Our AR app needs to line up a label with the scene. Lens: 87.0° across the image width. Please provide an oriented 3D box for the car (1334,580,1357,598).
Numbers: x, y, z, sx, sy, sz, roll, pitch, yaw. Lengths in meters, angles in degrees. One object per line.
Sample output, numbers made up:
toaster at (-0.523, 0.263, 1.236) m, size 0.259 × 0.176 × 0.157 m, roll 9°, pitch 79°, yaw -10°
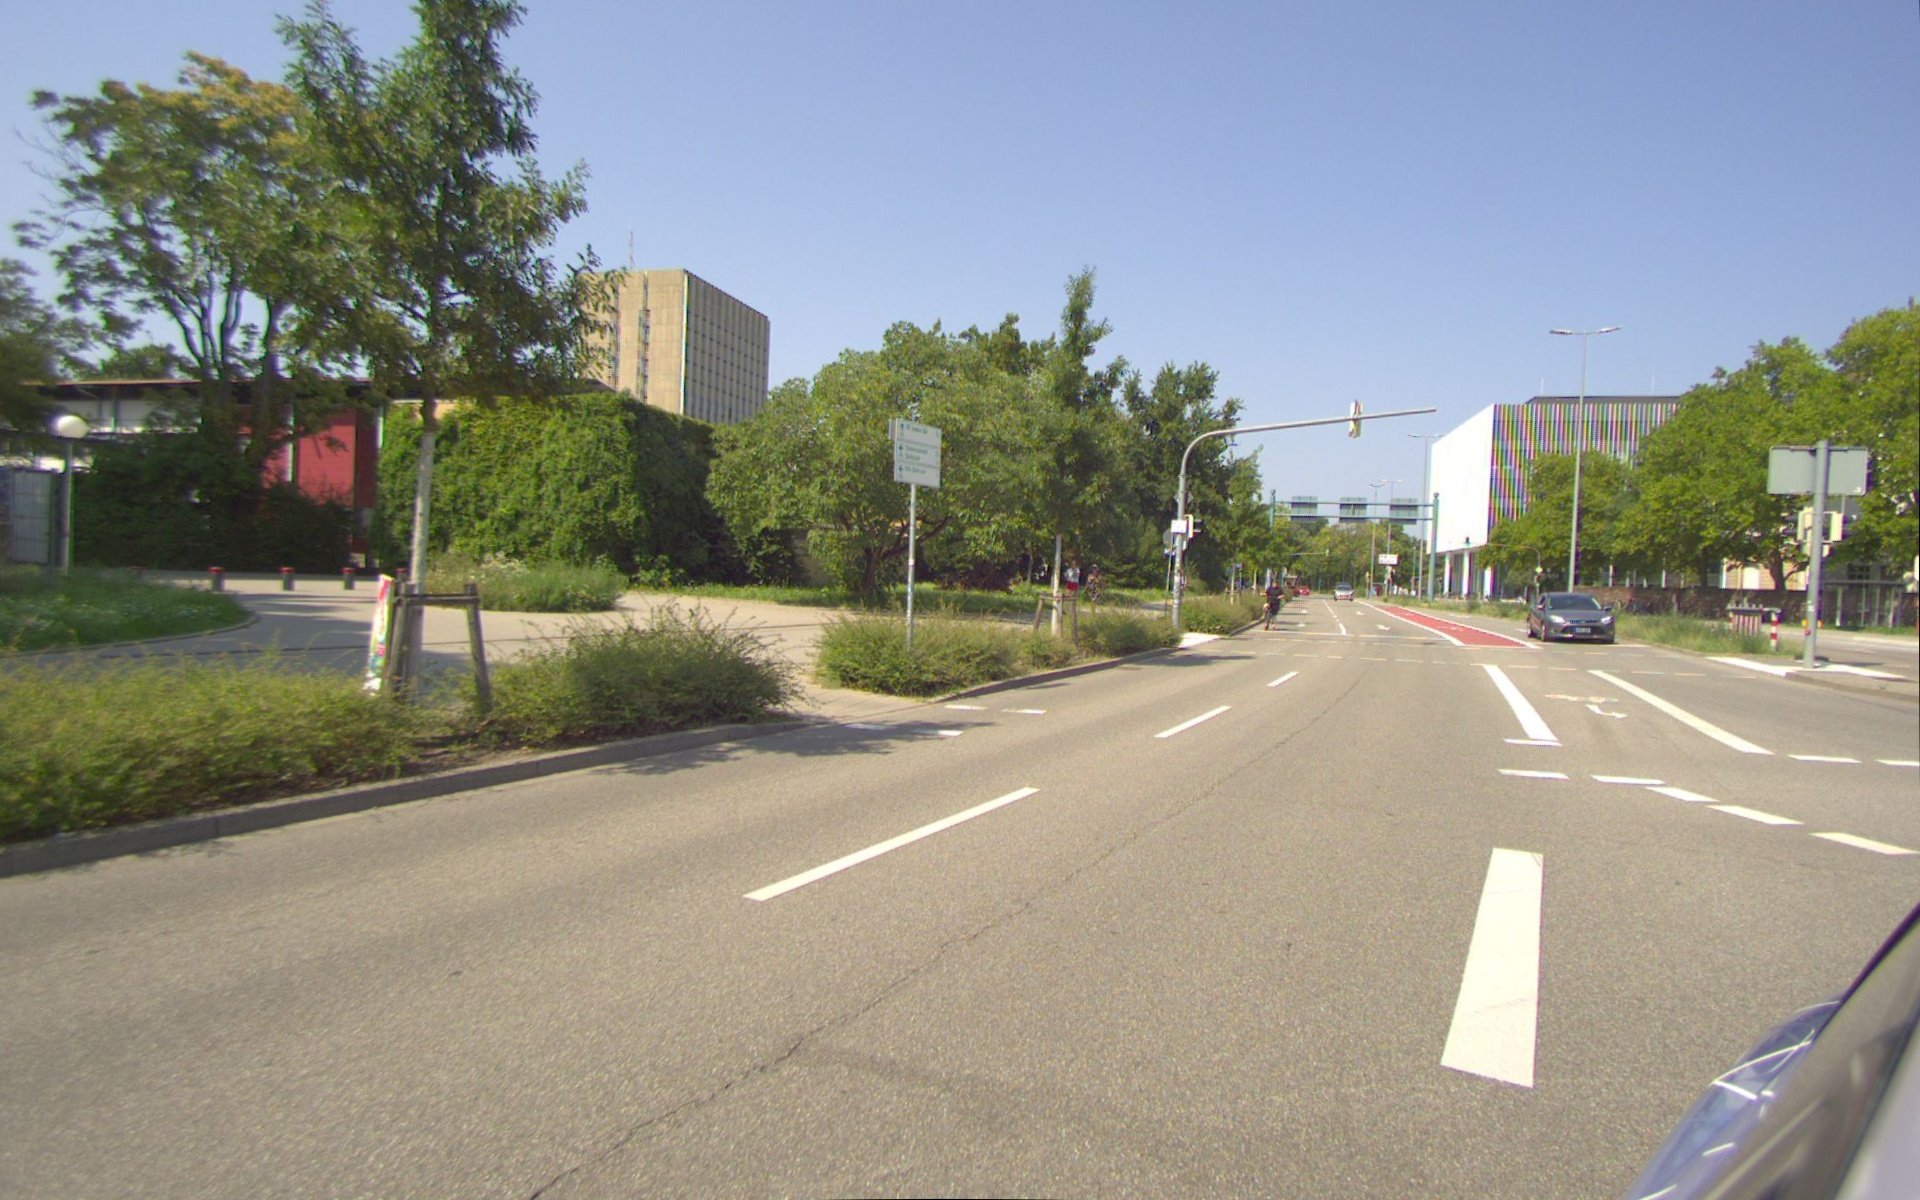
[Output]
car at (38.606, -1.122, 101.380) m, size 1.975 × 1.699 × 3.975 m, roll 2°, pitch 2°, yaw 20°

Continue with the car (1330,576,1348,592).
car at (45.916, -1.930, 122.610) m, size 1.975 × 1.801 × 3.975 m, roll 2°, pitch 2°, yaw 20°

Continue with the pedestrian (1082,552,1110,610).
pedestrian at (4.329, -0.613, 32.208) m, size 0.686 × 1.793 × 0.583 m, roll 3°, pitch 1°, yaw 21°

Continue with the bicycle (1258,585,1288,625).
bicycle at (10.188, 0.147, 32.887) m, size 0.777 × 1.227 × 1.777 m, roll 3°, pitch 2°, yaw 20°

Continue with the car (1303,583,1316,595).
car at (57.091, -1.835, 165.176) m, size 1.975 × 1.801 × 3.975 m, roll 2°, pitch 2°, yaw 20°

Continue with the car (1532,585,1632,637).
car at (18.146, 0.276, 29.673) m, size 1.769 × 1.374 × 3.403 m, roll 1°, pitch 1°, yaw 19°

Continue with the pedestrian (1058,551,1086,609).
pedestrian at (3.598, -0.644, 32.455) m, size 0.686 × 1.793 × 0.583 m, roll 3°, pitch 1°, yaw 21°

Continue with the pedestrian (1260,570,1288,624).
pedestrian at (10.155, -0.102, 32.771) m, size 0.771 × 1.689 × 0.545 m, roll 3°, pitch 1°, yaw 21°

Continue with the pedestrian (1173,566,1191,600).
pedestrian at (11.806, -0.906, 53.758) m, size 0.784 × 1.790 × 0.821 m, roll 3°, pitch 1°, yaw 21°
